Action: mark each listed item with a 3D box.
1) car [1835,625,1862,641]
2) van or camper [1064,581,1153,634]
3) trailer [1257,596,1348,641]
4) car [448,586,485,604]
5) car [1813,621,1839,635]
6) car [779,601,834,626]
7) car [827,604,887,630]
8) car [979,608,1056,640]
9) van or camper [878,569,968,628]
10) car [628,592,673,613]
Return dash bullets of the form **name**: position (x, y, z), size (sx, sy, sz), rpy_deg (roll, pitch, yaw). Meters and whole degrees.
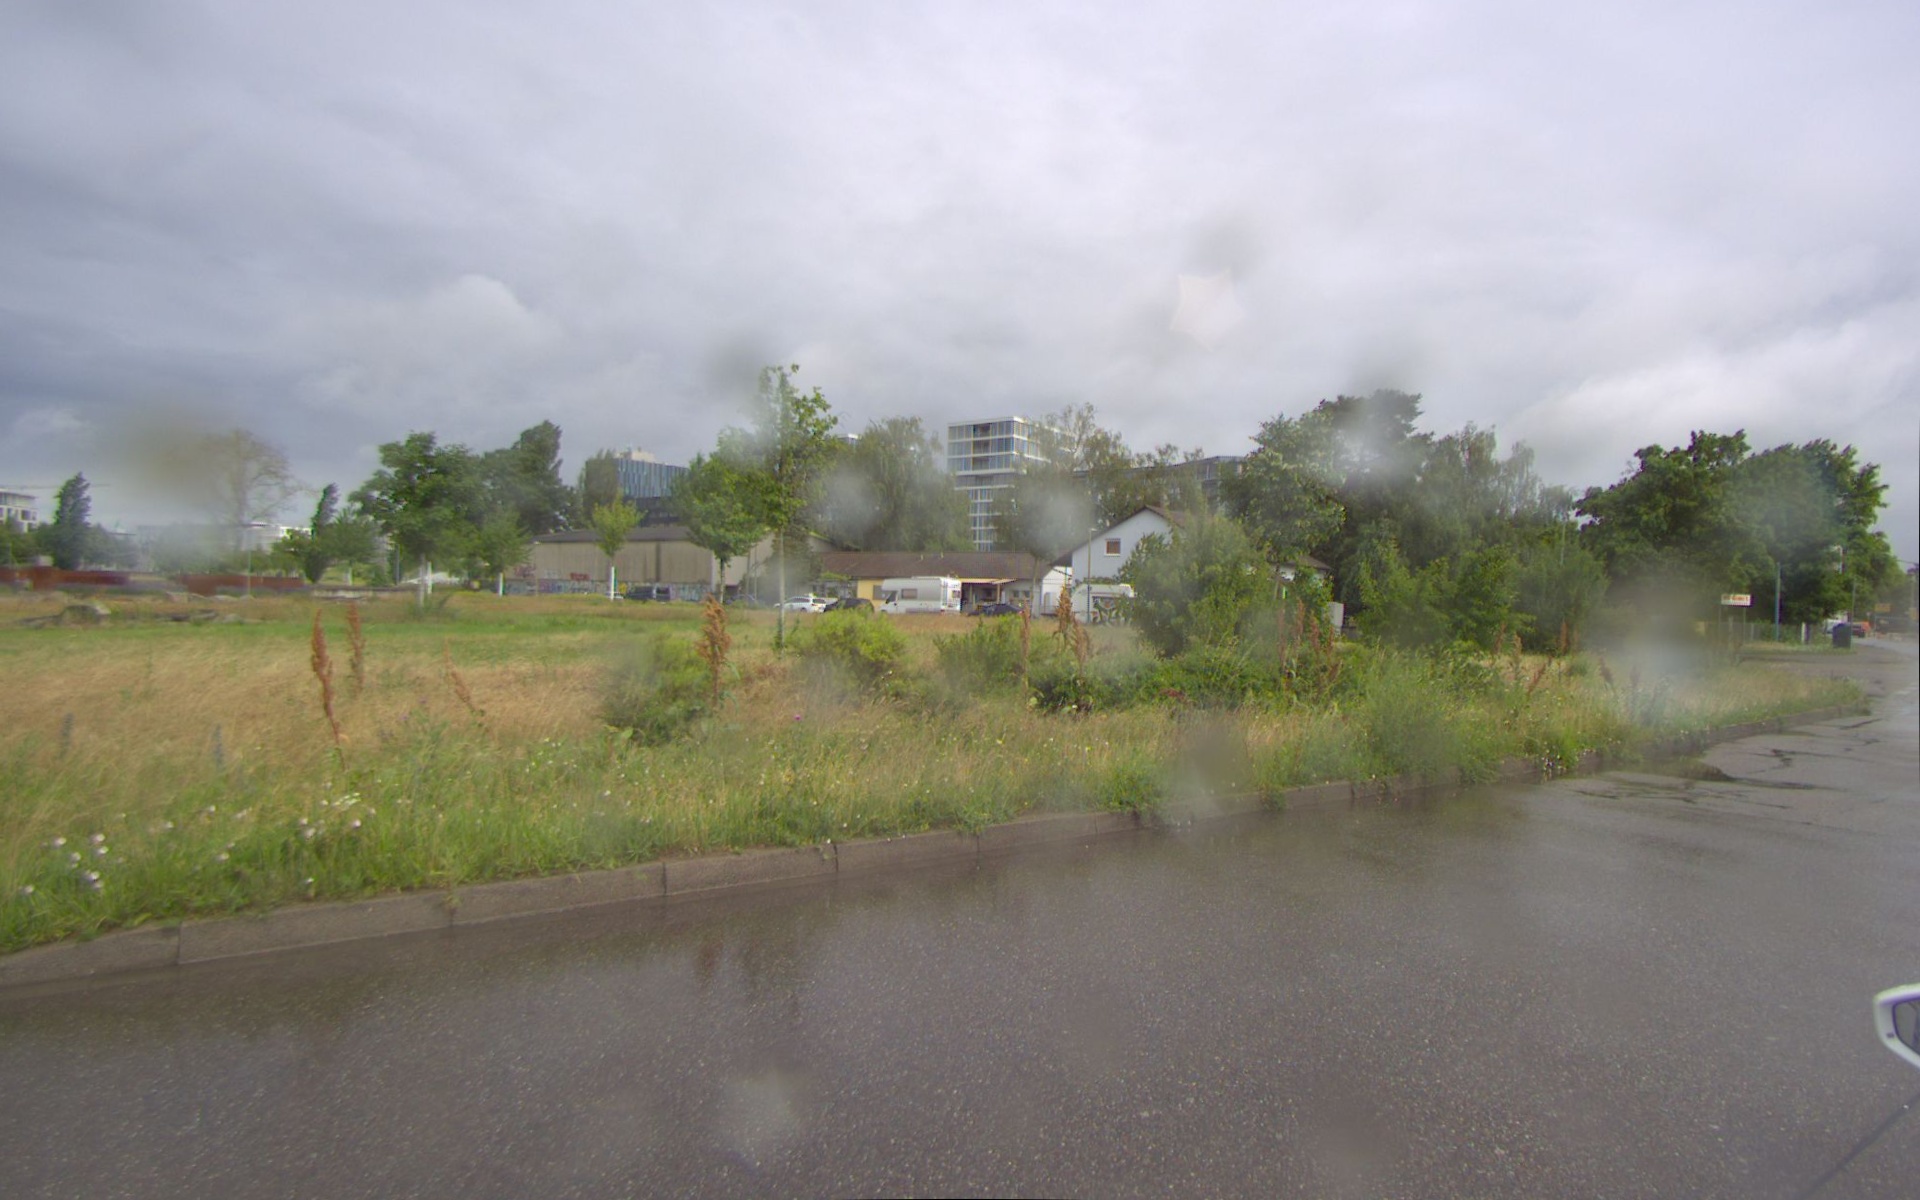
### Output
- **car**: position (97.483, 3.562, 110.240), size (1.817, 1.663, 4.002), rpy_deg (2, 0, 36)
- **van or camper**: position (8.678, 0.411, 58.792), size (4.447, 2.985, 2.472), rpy_deg (2, 0, 40)
- **trailer**: position (17.816, 0.935, 52.348), size (4.048, 2.117, 1.837), rpy_deg (3, 1, 37)
- **car**: position (-51.328, -0.490, 104.380), size (3.939, 1.728, 1.991), rpy_deg (2, 0, 39)
- **car**: position (106.474, 3.423, 123.513), size (1.970, 1.725, 4.002), rpy_deg (2, 0, 36)
- **car**: position (-11.402, 1.005, 74.437), size (3.939, 1.726, 1.873), rpy_deg (2, 0, 39)
- **car**: position (-7.325, 1.189, 71.149), size (3.937, 1.706, 1.992), rpy_deg (2, 0, 38)
- **car**: position (3.555, 1.483, 62.376), size (4.451, 1.799, 1.991), rpy_deg (2, 0, 40)
- **van or camper**: position (-2.535, -0.134, 67.681), size (5.762, 3.794, 2.642), rpy_deg (2, 0, 40)
- **car**: position (-26.335, 0.238, 85.377), size (3.934, 1.662, 1.645), rpy_deg (2, 0, 36)
